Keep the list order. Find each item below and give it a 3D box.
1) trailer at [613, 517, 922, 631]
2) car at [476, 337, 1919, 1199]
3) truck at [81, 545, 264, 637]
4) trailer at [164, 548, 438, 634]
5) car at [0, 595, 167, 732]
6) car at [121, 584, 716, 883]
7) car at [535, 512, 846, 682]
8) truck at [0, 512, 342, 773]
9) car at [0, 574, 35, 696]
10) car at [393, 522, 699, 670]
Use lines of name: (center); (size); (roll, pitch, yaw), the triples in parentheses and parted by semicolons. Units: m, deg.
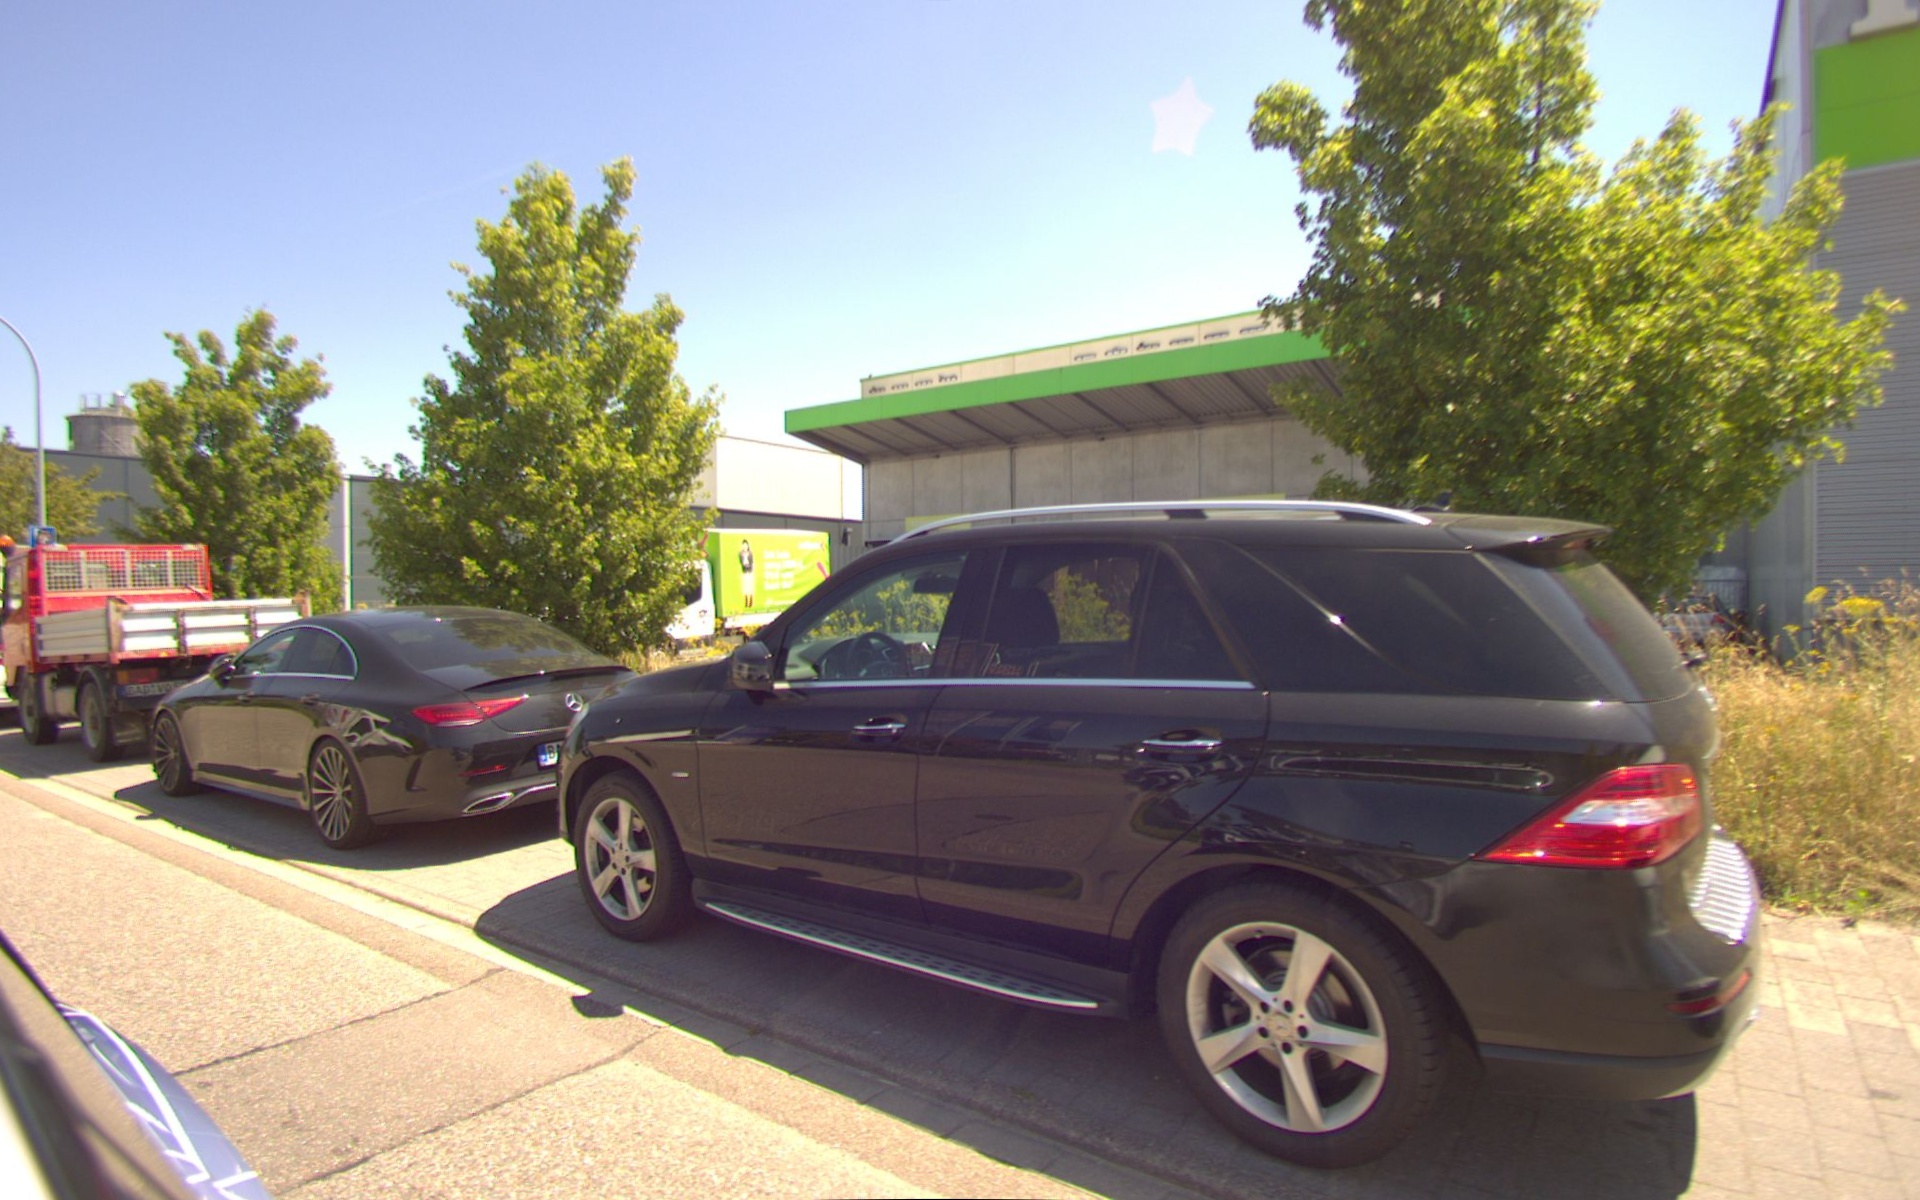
trailer: (-7.549, -0.907, 43.831); (3.212, 4.119, 15.186); (-1, -1, 35)
car: (0.309, 0.418, 3.942); (4.978, 1.772, 1.835); (-1, 2, 37)
truck: (-36.631, -0.412, 47.333); (3.137, 4.001, 6.005); (-1, 0, 24)
trailer: (-34.027, -0.453, 53.274); (3.137, 4.001, 12.437); (-1, 0, 24)
car: (-12.433, 0.759, 13.500); (3.757, 1.562, 1.836); (-1, 1, 34)
car: (-4.041, 0.666, 7.202); (4.744, 1.454, 1.835); (0, 2, 36)
car: (-5.249, -0.100, 20.720); (2.515, 2.947, 5.923); (-1, 1, 35)
truck: (-8.672, 0.354, 10.798); (4.636, 2.239, 1.835); (-1, 1, 35)
car: (-17.634, 0.591, 17.042); (5.391, 1.915, 1.956); (-1, 1, 36)
car: (-9.011, -0.119, 22.647); (2.515, 2.846, 5.923); (-1, 1, 35)
